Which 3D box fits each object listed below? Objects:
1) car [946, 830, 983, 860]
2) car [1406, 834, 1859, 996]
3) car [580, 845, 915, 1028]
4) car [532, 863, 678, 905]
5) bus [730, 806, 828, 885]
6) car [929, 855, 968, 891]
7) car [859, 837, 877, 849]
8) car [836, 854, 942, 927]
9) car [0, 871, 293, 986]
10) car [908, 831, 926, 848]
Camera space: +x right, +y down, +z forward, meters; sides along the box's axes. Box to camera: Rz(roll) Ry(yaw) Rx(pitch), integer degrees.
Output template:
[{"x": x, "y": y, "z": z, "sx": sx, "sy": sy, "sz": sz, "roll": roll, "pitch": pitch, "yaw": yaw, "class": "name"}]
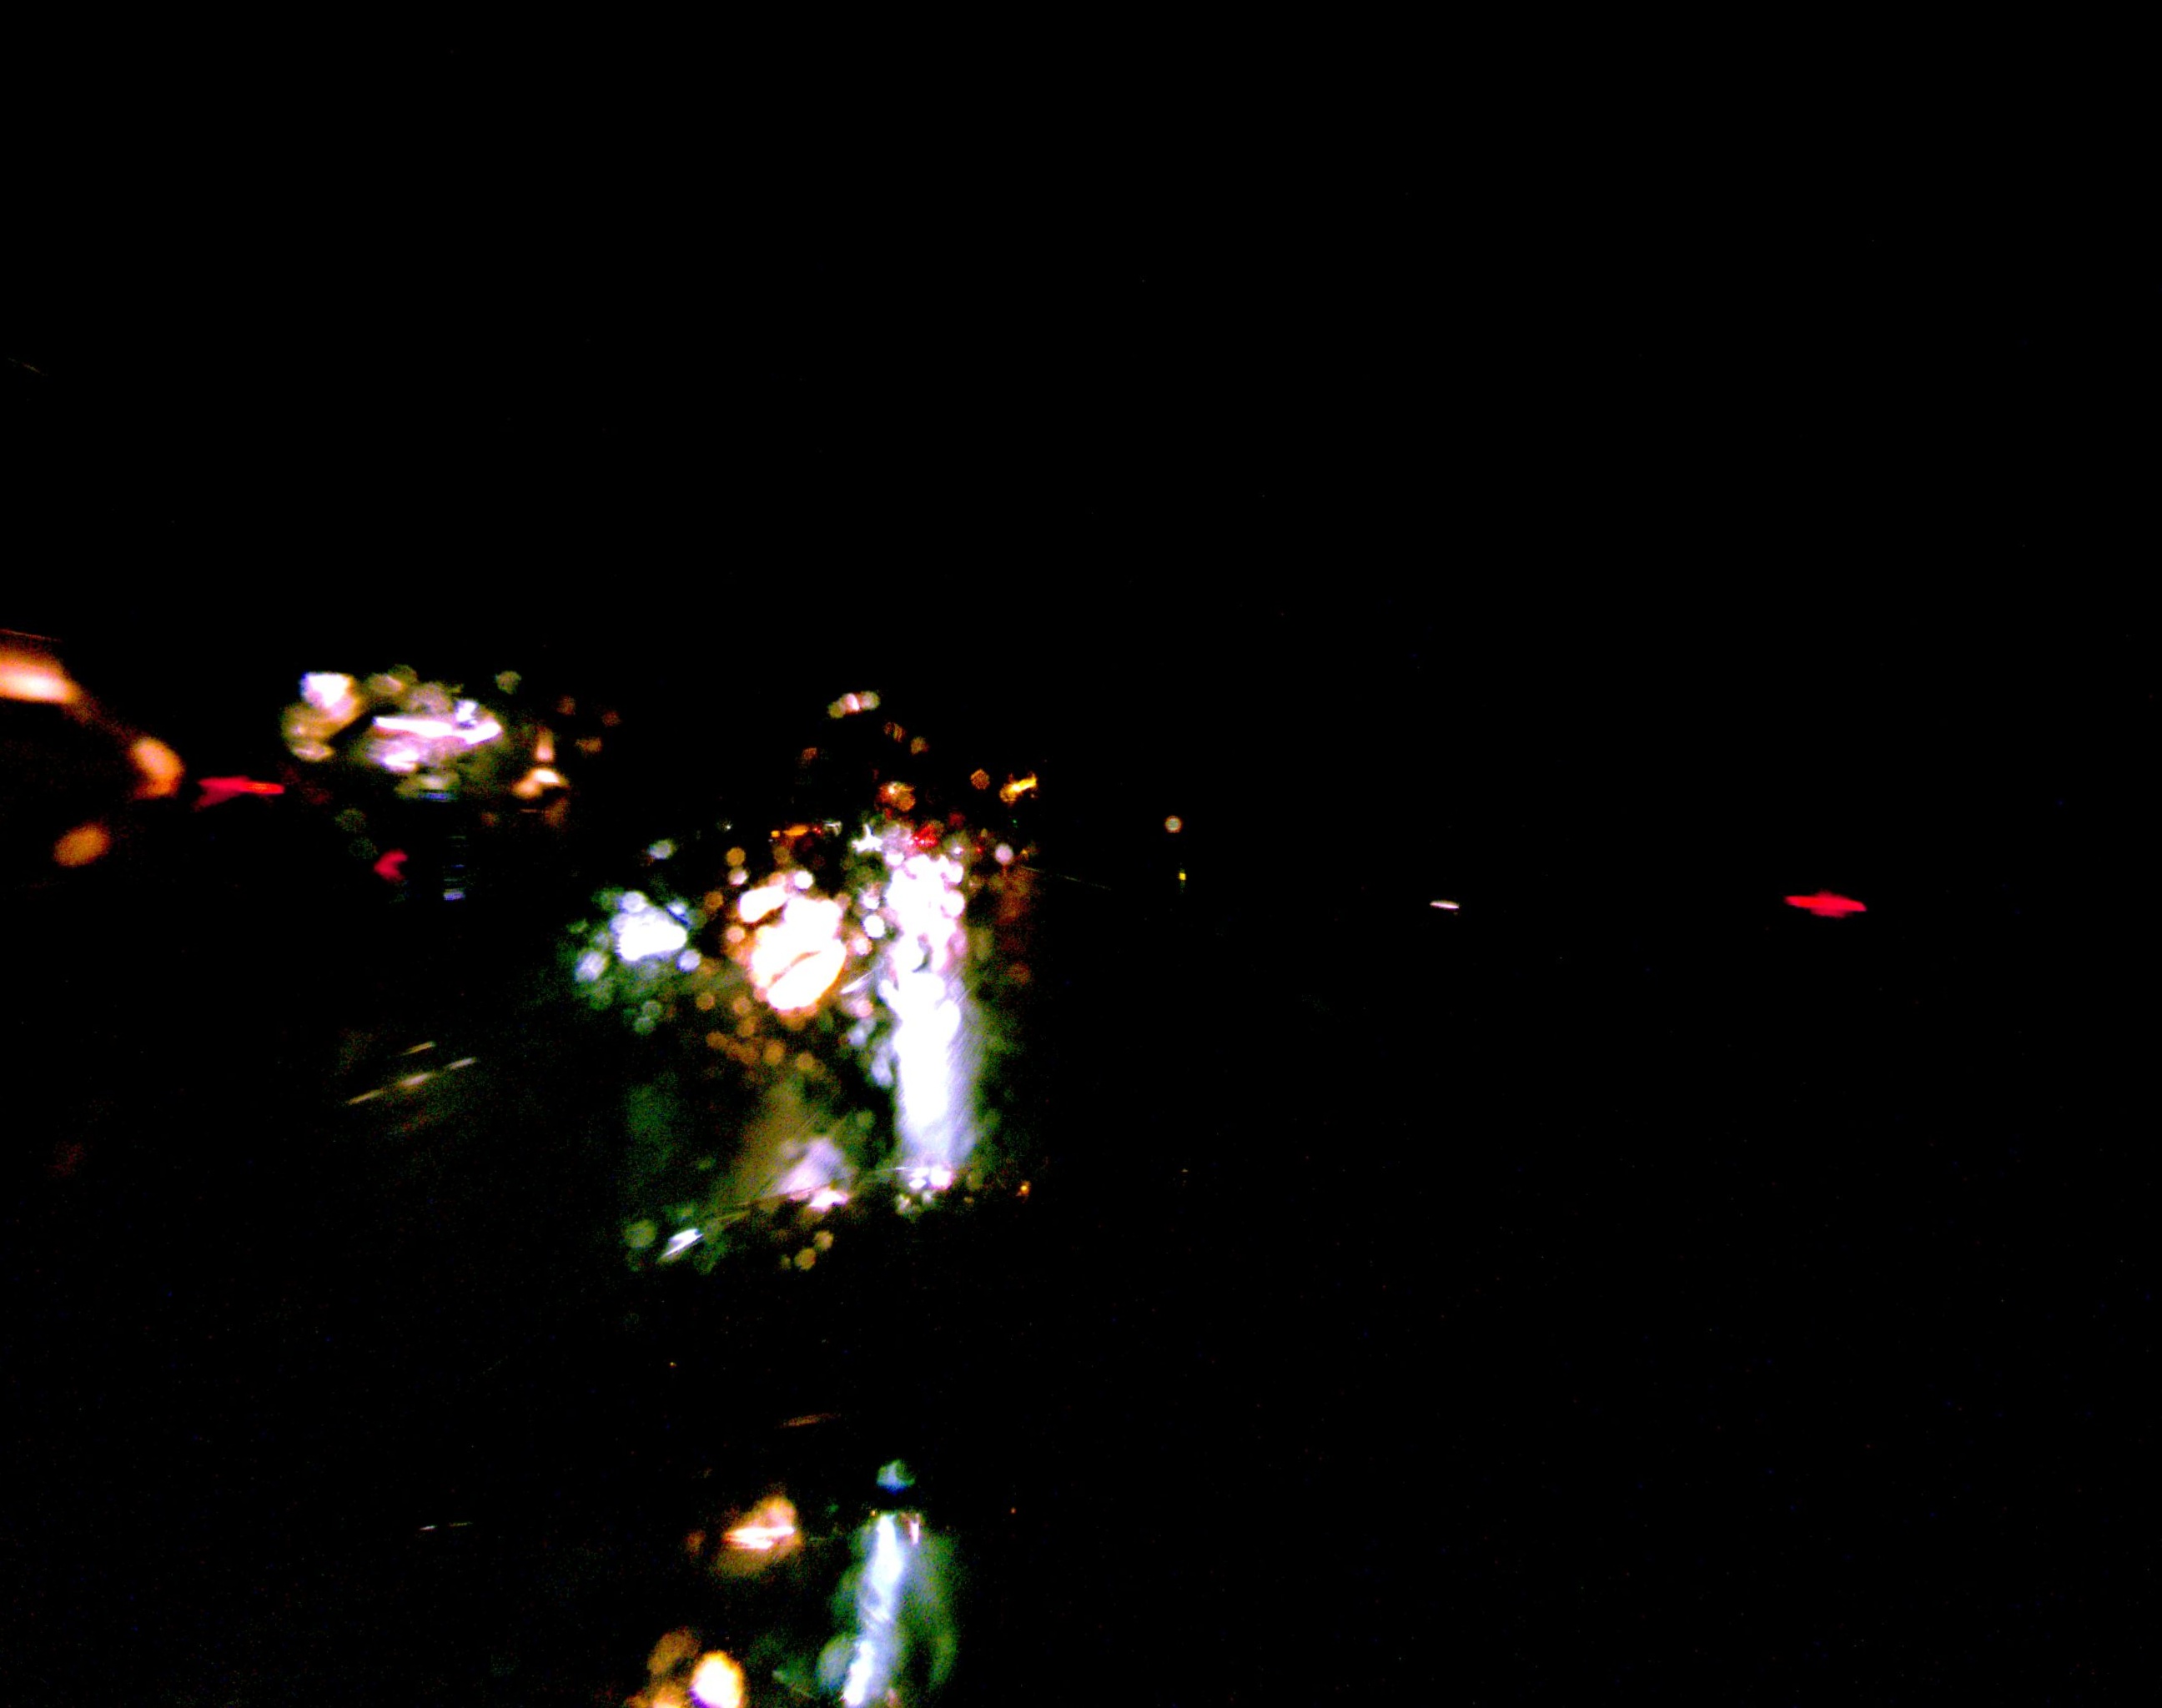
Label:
[{"x": -10.833, "y": -0.894, "z": 75.183, "sx": 2.545, "sy": 2.497, "sz": 5.683, "roll": -1, "pitch": 3, "yaw": -17, "class": "car"}, {"x": 7.069, "y": 0.650, "z": 10.822, "sx": 4.715, "sy": 1.691, "sz": 1.972, "roll": 0, "pitch": -1, "yaw": 44, "class": "car"}, {"x": -3.263, "y": 0.735, "z": 9.099, "sx": 1.950, "sy": 1.522, "sz": 4.397, "roll": 1, "pitch": -1, "yaw": -1, "class": "car"}, {"x": -16.984, "y": 1.030, "z": 29.402, "sx": 1.832, "sy": 1.376, "sz": 4.750, "roll": 1, "pitch": -1, "yaw": 11, "class": "car"}, {"x": -17.336, "y": -0.504, "z": 45.984, "sx": 2.912, "sy": 3.868, "sz": 12.932, "roll": 0, "pitch": 1, "yaw": -31, "class": "bus"}, {"x": -6.331, "y": 0.855, "z": 39.269, "sx": 1.694, "sy": 1.599, "sz": 3.792, "roll": 0, "pitch": 1, "yaw": -7, "class": "car"}, {"x": -28.333, "y": -1.414, "z": 108.262, "sx": 1.642, "sy": 1.510, "sz": 4.086, "roll": -2, "pitch": 1, "yaw": -22, "class": "car"}, {"x": -4.311, "y": 0.759, "z": 18.815, "sx": 1.708, "sy": 1.476, "sz": 3.864, "roll": 1, "pitch": 0, "yaw": -4, "class": "car"}, {"x": -14.694, "y": 1.056, "z": 11.949, "sx": 1.676, "sy": 1.398, "sz": 4.168, "roll": -3, "pitch": 0, "yaw": 15, "class": "car"}, {"x": -20.936, "y": -1.815, "z": 103.818, "sx": 1.996, "sy": 2.014, "sz": 3.981, "roll": 1, "pitch": -1, "yaw": -13, "class": "car"}]
